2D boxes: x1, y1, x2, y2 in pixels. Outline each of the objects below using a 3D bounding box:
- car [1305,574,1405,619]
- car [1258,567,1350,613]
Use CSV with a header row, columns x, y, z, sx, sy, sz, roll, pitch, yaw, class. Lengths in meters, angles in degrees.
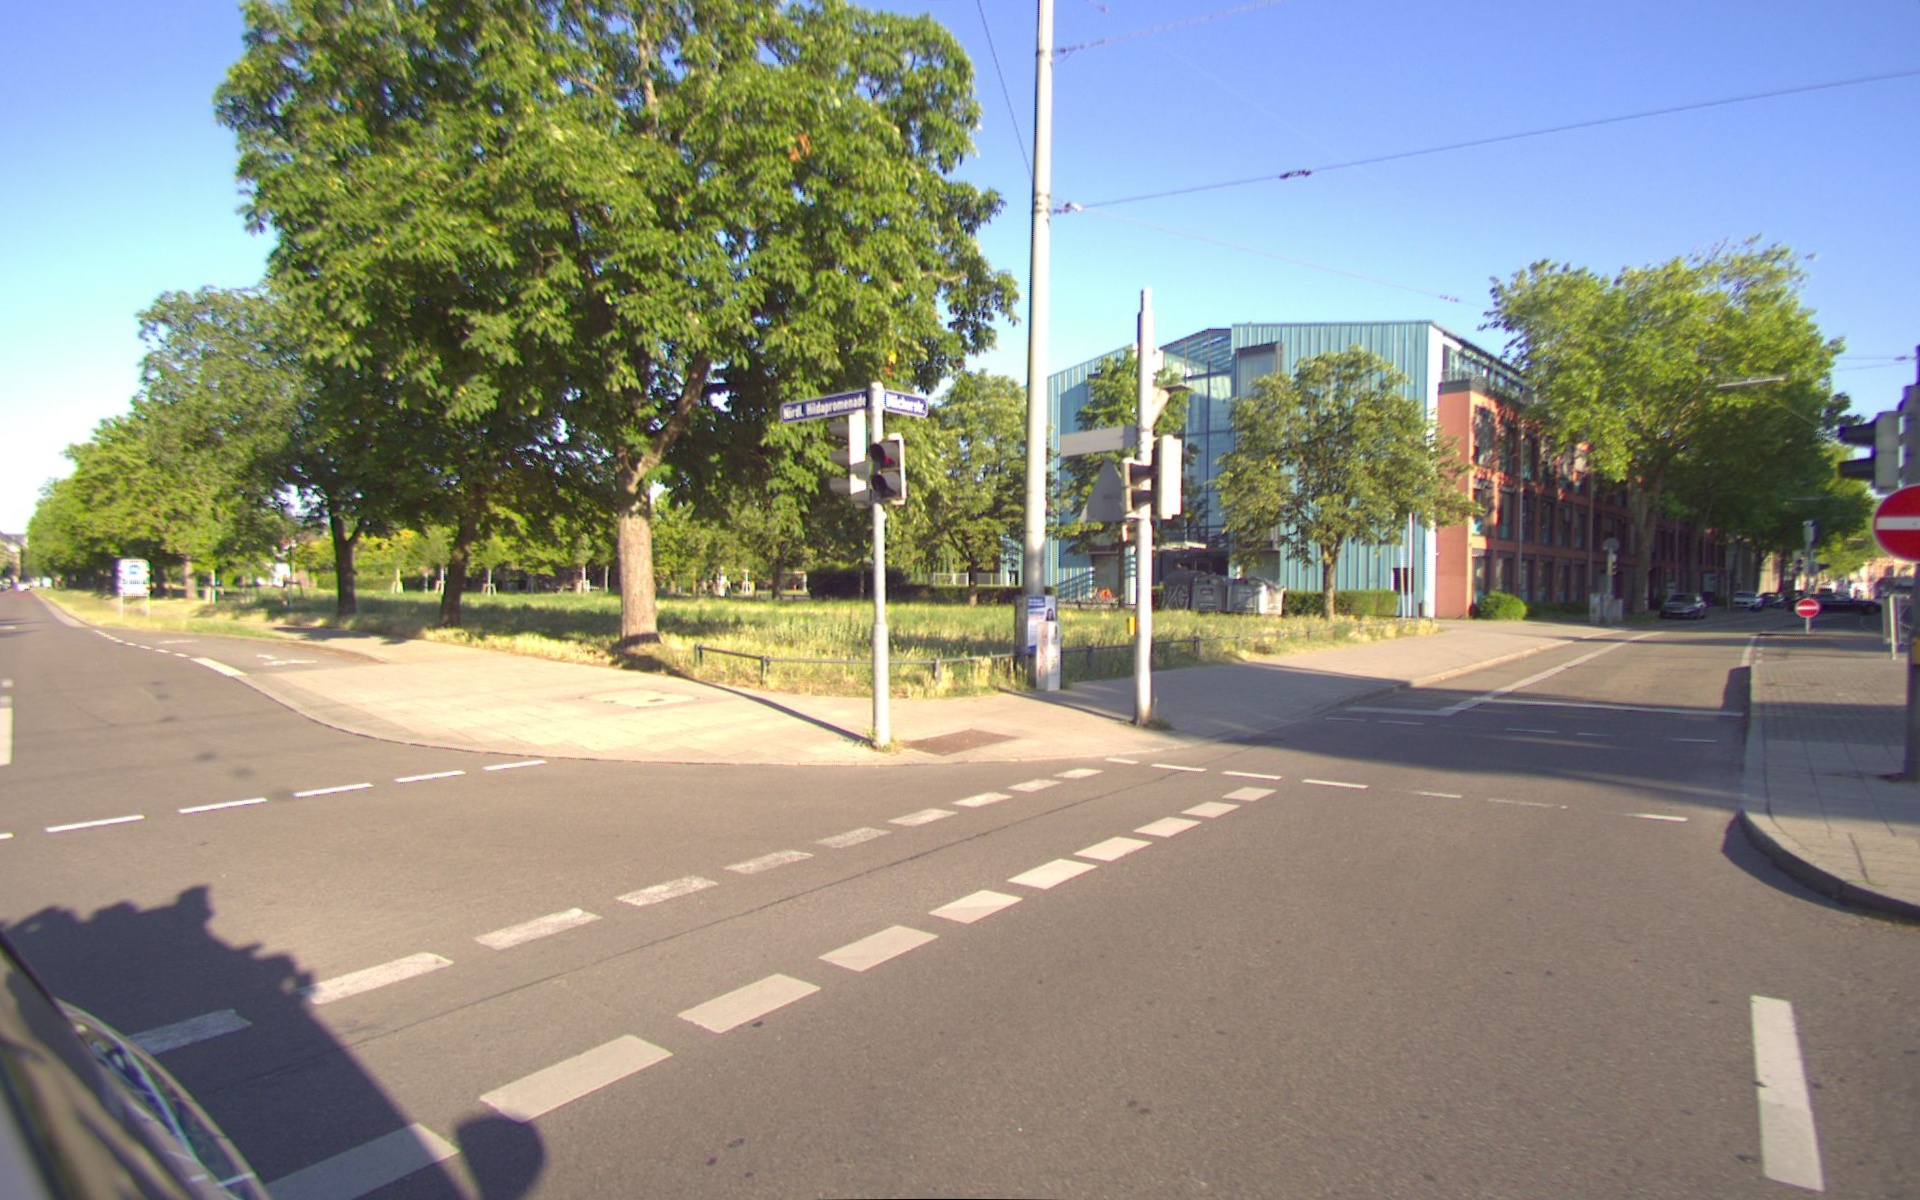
x,y,z,sx,sy,sz,roll,pitch,yaw,class
16.269,-0.188,41.517,2.001,1.684,5.148,2,3,44,car
14.661,-0.471,42.949,1.966,1.683,5.155,2,4,40,car
